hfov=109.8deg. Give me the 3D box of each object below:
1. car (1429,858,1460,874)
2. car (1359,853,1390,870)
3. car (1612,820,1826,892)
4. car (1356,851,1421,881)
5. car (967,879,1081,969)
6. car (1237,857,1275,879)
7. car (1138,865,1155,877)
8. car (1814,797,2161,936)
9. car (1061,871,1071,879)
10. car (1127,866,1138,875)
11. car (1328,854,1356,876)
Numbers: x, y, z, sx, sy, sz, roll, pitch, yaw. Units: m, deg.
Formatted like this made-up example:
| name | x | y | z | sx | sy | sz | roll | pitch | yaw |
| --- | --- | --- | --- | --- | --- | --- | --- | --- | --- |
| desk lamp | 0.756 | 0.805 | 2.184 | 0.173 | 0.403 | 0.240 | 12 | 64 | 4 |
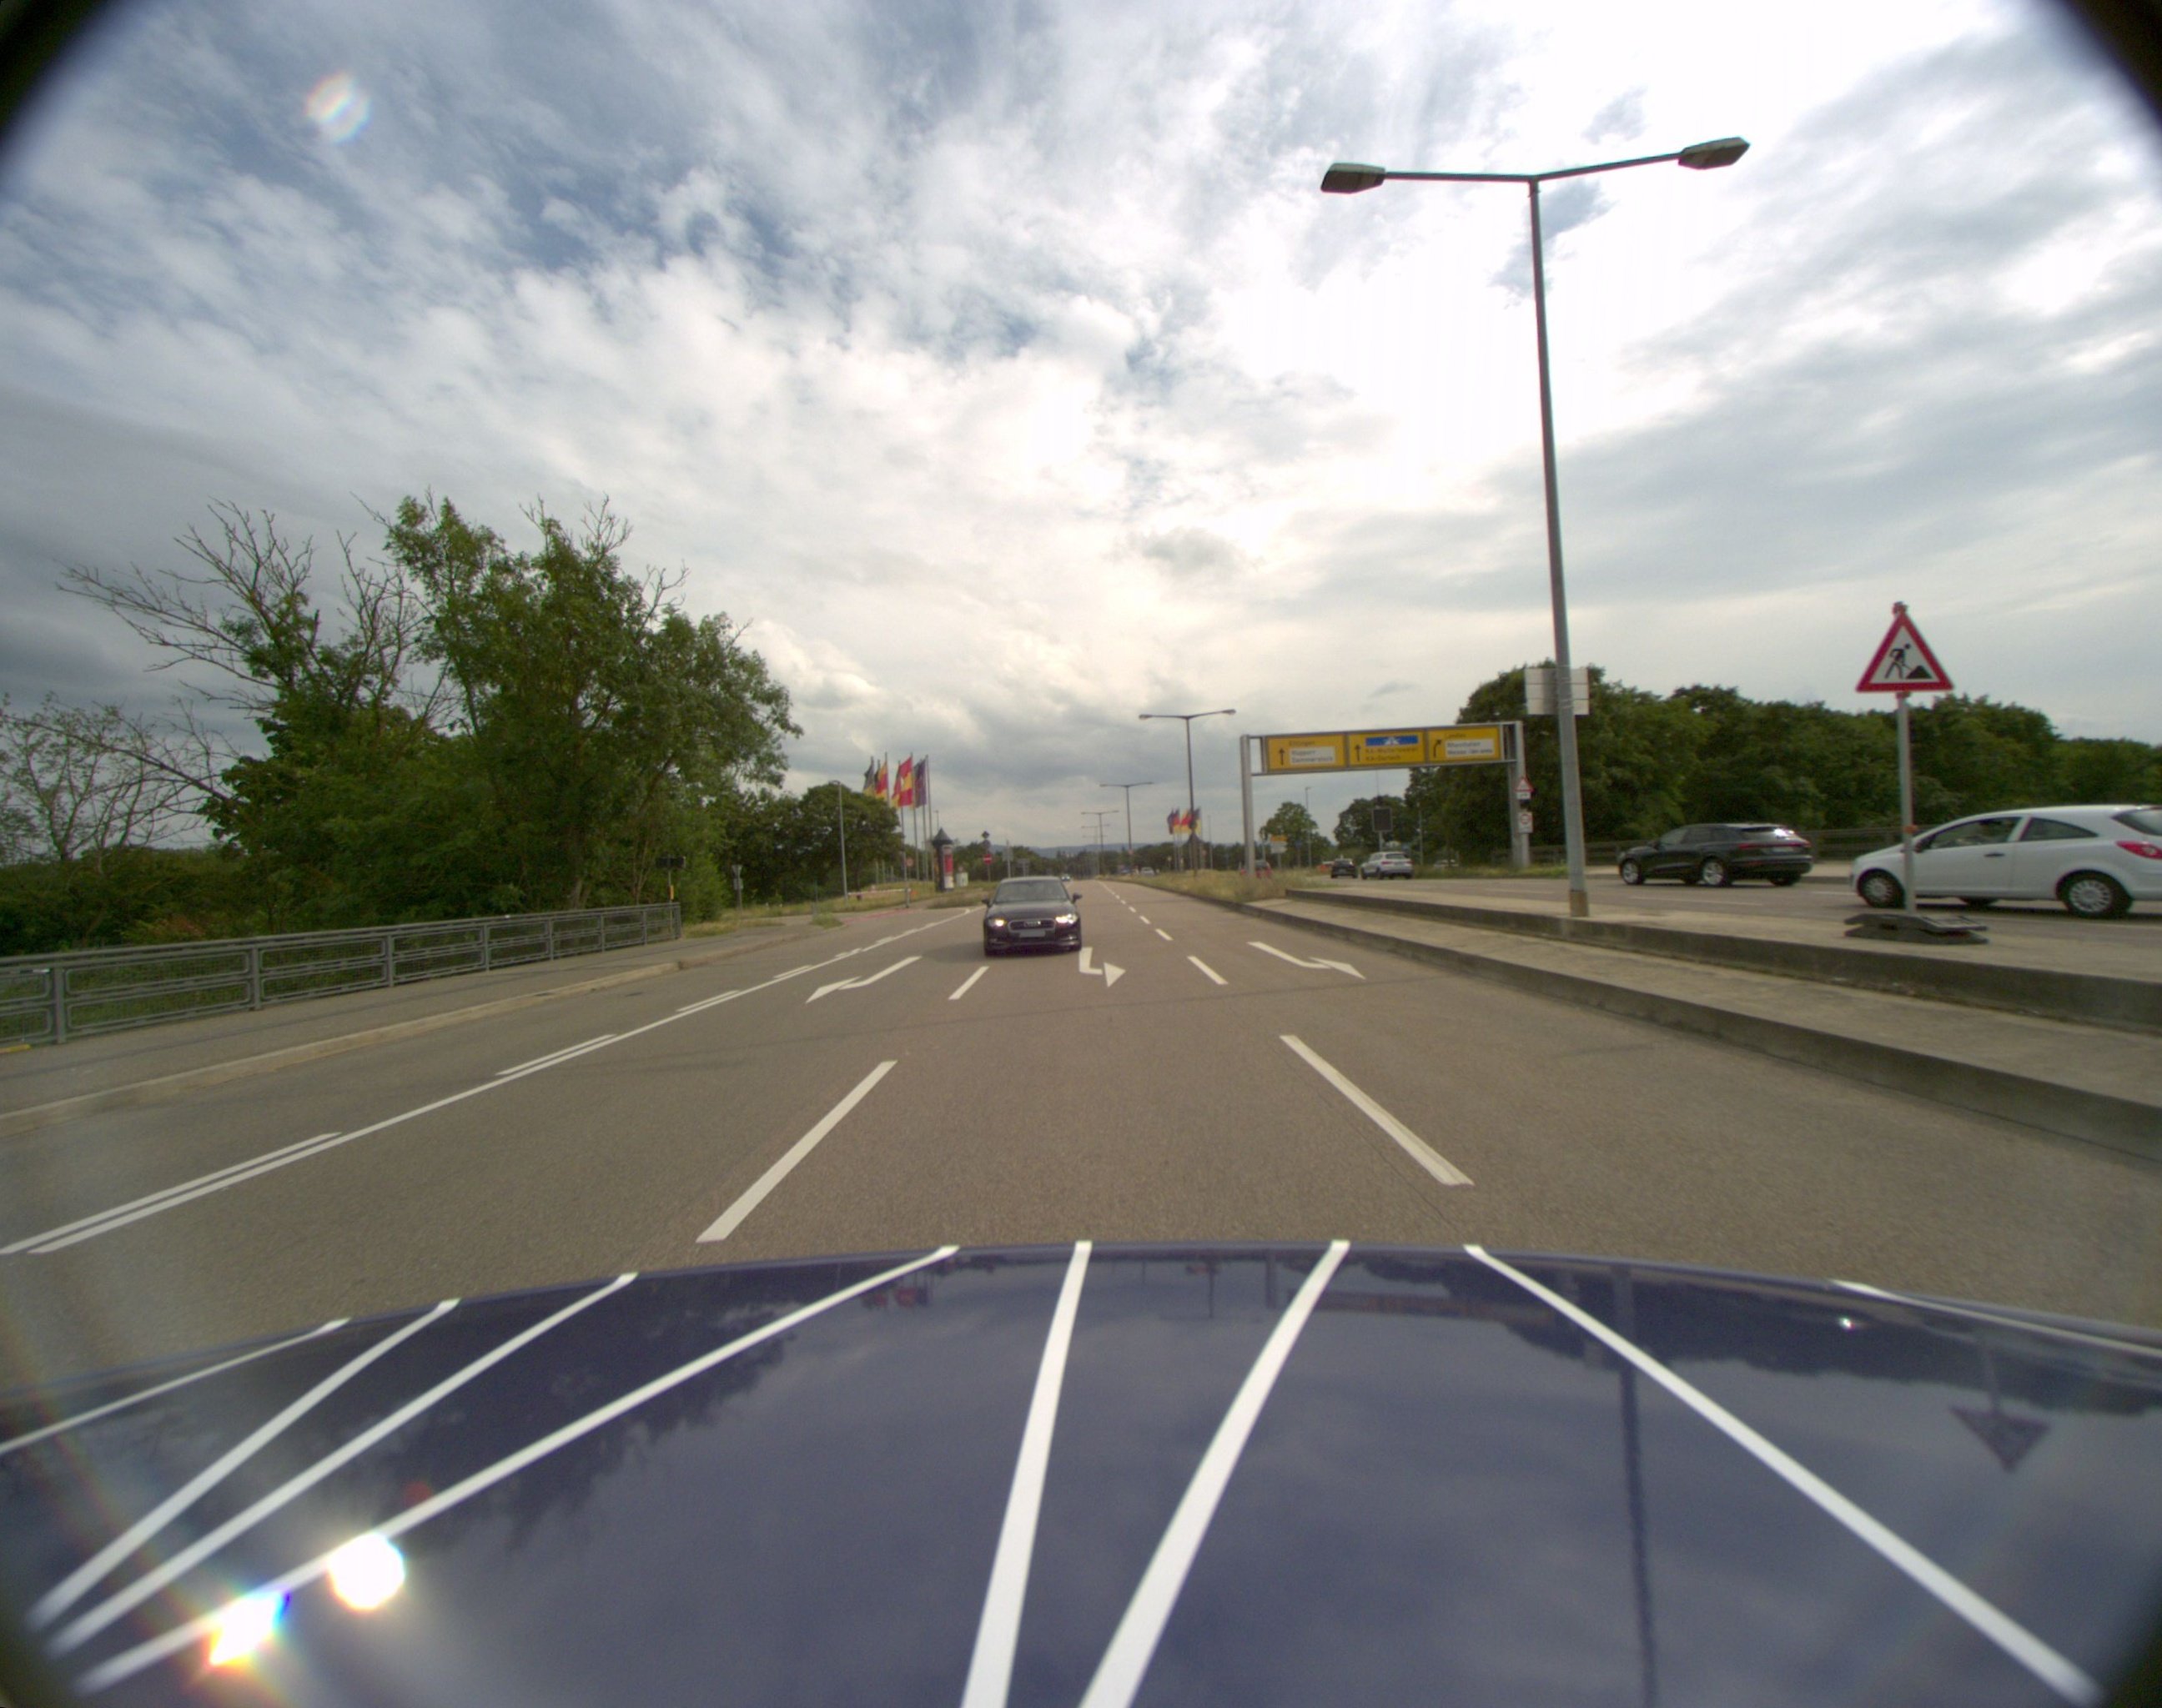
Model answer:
| name | x | y | z | sx | sy | sz | roll | pitch | yaw |
| --- | --- | --- | --- | --- | --- | --- | --- | --- | --- |
| car | 38.352 | 1.269 | 80.061 | 1.818 | 1.597 | 3.906 | 1 | 0 | 43 |
| car | 28.327 | 0.776 | 73.264 | 1.888 | 1.518 | 4.678 | 0 | -2 | 31 |
| car | 16.938 | 0.058 | 20.552 | 1.892 | 1.630 | 4.545 | -3 | 0 | 0 |
| car | 17.426 | 0.637 | 43.317 | 1.892 | 1.523 | 4.453 | -3 | 0 | 0 |
| car | -0.965 | 1.247 | 15.055 | 1.852 | 1.355 | 4.730 | -3 | -1 | 0 |
| car | 13.054 | 1.031 | 56.880 | 1.727 | 1.523 | 3.917 | -3 | 0 | -2 |
| car | 8.851 | 2.313 | 102.820 | 1.776 | 1.597 | 3.878 | -3 | -2 | -2 |
| car | 13.600 | 0.102 | 10.973 | 1.892 | 1.630 | 4.217 | -3 | 0 | -1 |
| car | -3.241 | 4.640 | 168.320 | 1.998 | 1.518 | 4.000 | -5 | 0 | 1 |
| car | 10.174 | 3.219 | 149.692 | 1.776 | 1.598 | 3.876 | -3 | 1 | -2 |
| car | 21.388 | 0.905 | 62.100 | 1.889 | 1.597 | 4.767 | -4 | -2 | 21 |
